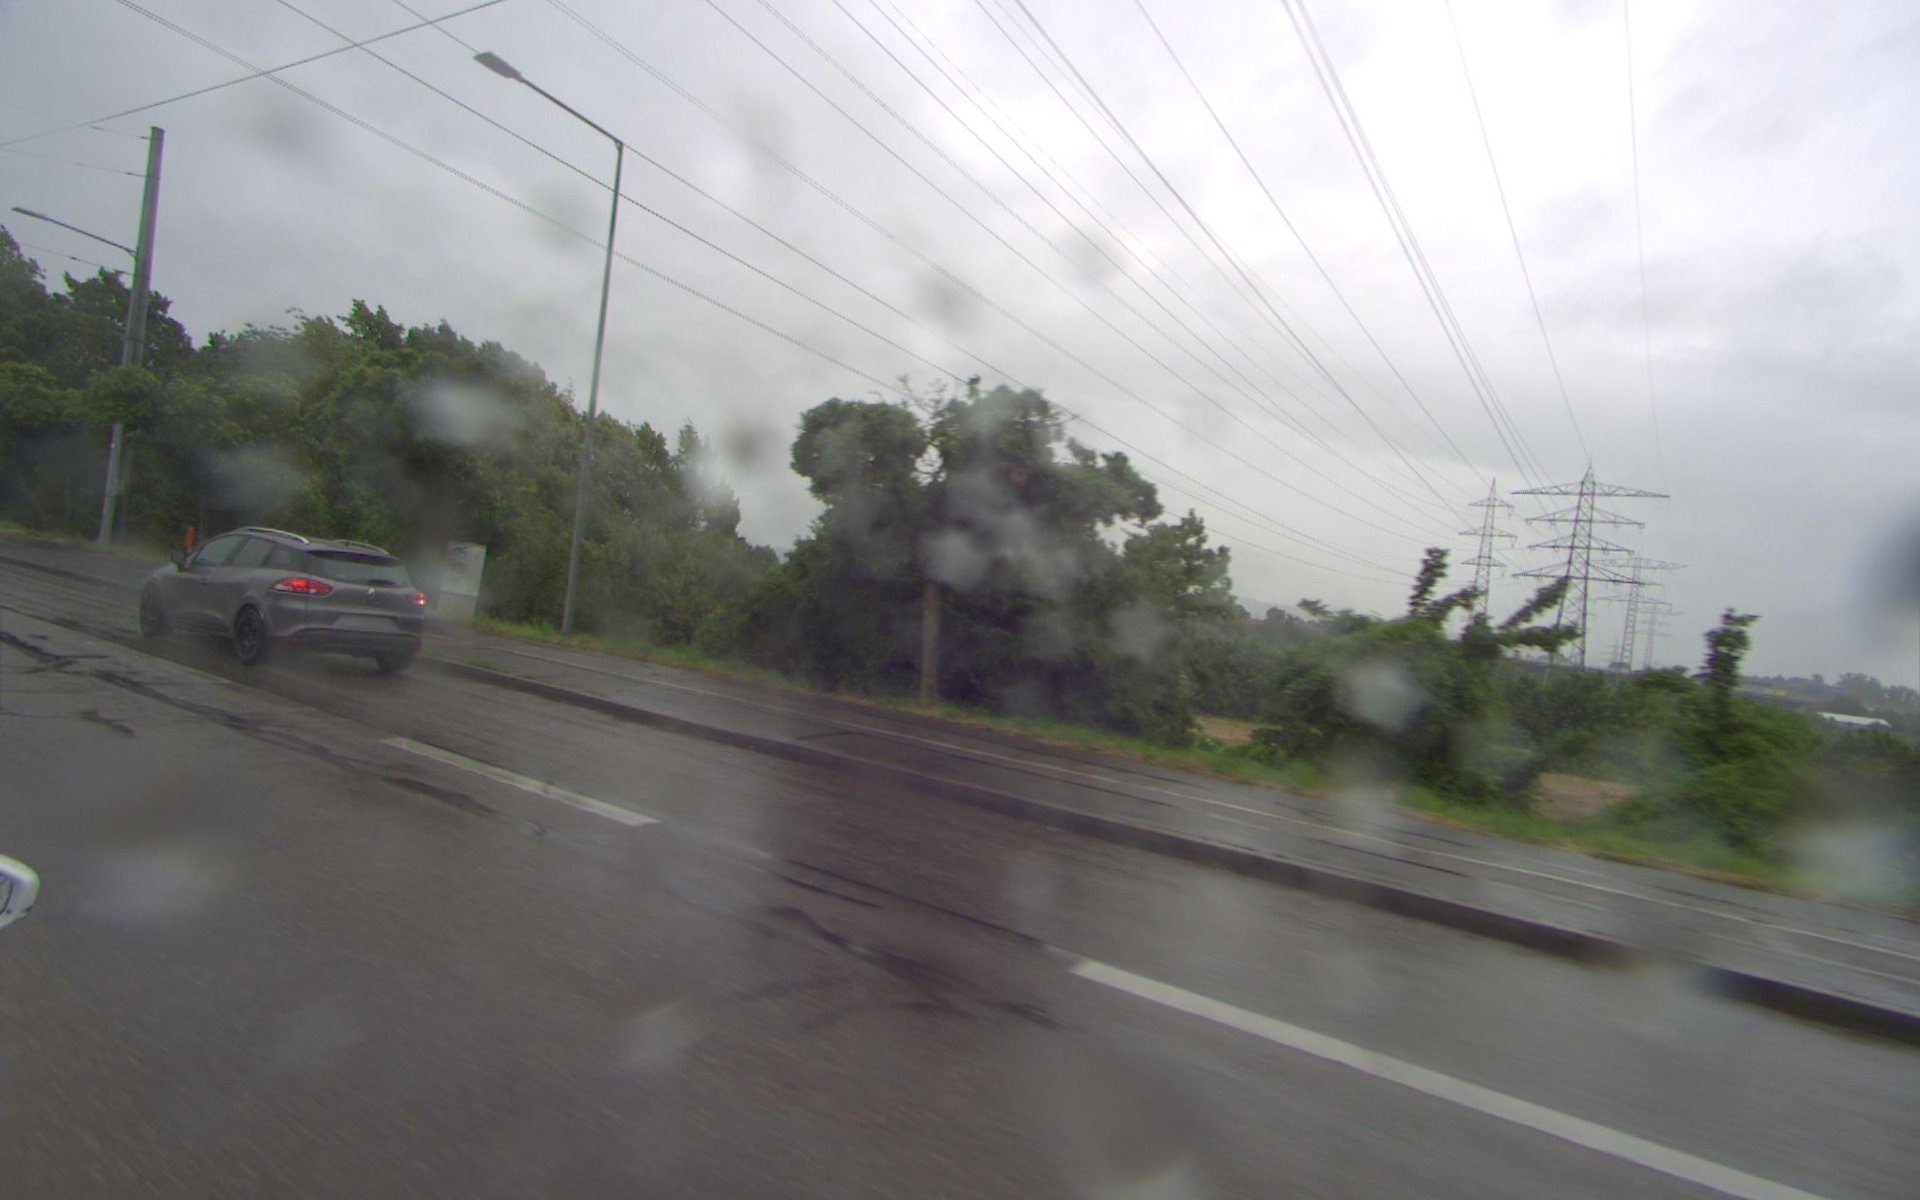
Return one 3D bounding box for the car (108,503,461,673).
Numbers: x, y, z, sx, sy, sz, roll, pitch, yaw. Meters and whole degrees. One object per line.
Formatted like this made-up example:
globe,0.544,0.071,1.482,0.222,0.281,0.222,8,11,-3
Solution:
car,-8.141,-0.168,12.031,4.207,1.373,1.891,8,-1,33
